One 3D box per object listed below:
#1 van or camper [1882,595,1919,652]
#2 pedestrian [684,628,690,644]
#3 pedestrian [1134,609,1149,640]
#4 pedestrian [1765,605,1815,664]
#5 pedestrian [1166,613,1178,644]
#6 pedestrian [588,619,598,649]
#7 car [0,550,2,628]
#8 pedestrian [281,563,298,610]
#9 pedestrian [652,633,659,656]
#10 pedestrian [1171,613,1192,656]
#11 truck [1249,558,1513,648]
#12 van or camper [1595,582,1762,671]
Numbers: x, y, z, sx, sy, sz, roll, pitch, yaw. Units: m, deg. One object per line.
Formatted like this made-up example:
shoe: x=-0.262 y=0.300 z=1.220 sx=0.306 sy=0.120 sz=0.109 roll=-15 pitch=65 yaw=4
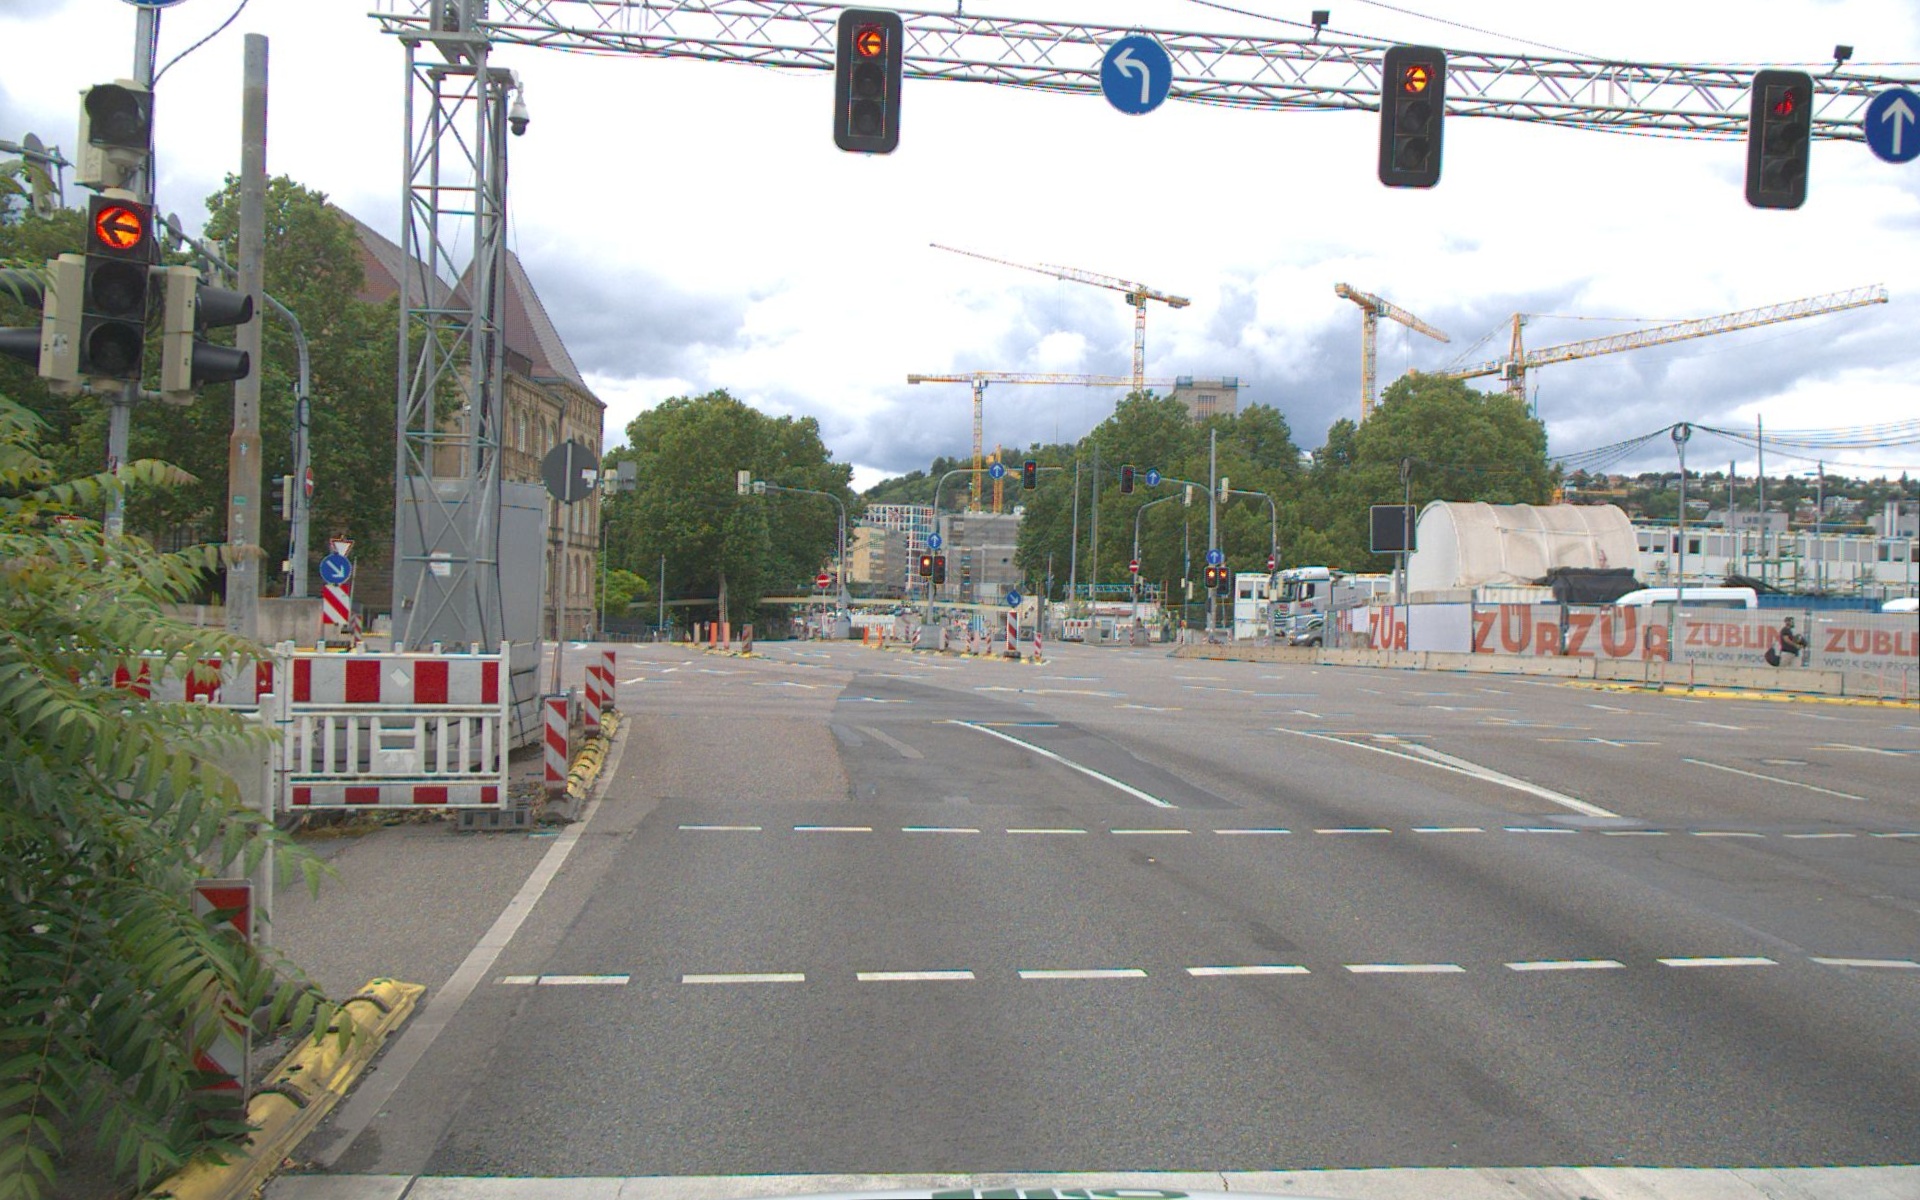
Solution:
van or camper: x=51.658 y=1.248 z=87.328 sx=5.190 sy=2.962 sz=1.994 roll=1 pitch=0 yaw=-13
pedestrian: x=-28.853 y=3.789 z=175.074 sx=0.525 sy=1.620 sz=0.515 roll=1 pitch=0 yaw=-5
pedestrian: x=10.381 y=1.397 z=94.517 sx=0.714 sy=1.718 sz=0.677 roll=2 pitch=0 yaw=-1
pedestrian: x=20.328 y=0.849 z=40.523 sx=0.889 sy=1.402 sz=0.794 roll=2 pitch=0 yaw=42
pedestrian: x=12.095 y=1.631 z=94.435 sx=0.555 sy=1.718 sz=0.471 roll=2 pitch=0 yaw=-1
pedestrian: x=-26.023 y=2.408 z=117.192 sx=0.513 sy=2.049 sz=0.566 roll=1 pitch=0 yaw=-1
car: x=-19.705 y=-0.123 z=29.342 sx=4.239 sy=1.705 sz=1.993 roll=2 pitch=0 yaw=-14
pedestrian: x=-29.548 y=-0.608 z=72.888 sx=0.523 sy=2.049 sz=0.421 roll=2 pitch=0 yaw=-44
pedestrian: x=-28.248 y=4.125 z=153.528 sx=0.513 sy=2.049 sz=0.566 roll=1 pitch=0 yaw=-1
pedestrian: x=9.068 y=1.409 z=67.580 sx=0.714 sy=1.718 sz=0.677 roll=2 pitch=0 yaw=-1
truck: x=20.999 y=0.169 z=82.313 sx=12.837 sy=4.111 sz=3.927 roll=1 pitch=0 yaw=-21
van or camper: x=20.731 y=0.743 z=47.904 sx=4.123 sy=2.398 sz=2.001 roll=1 pitch=0 yaw=14
